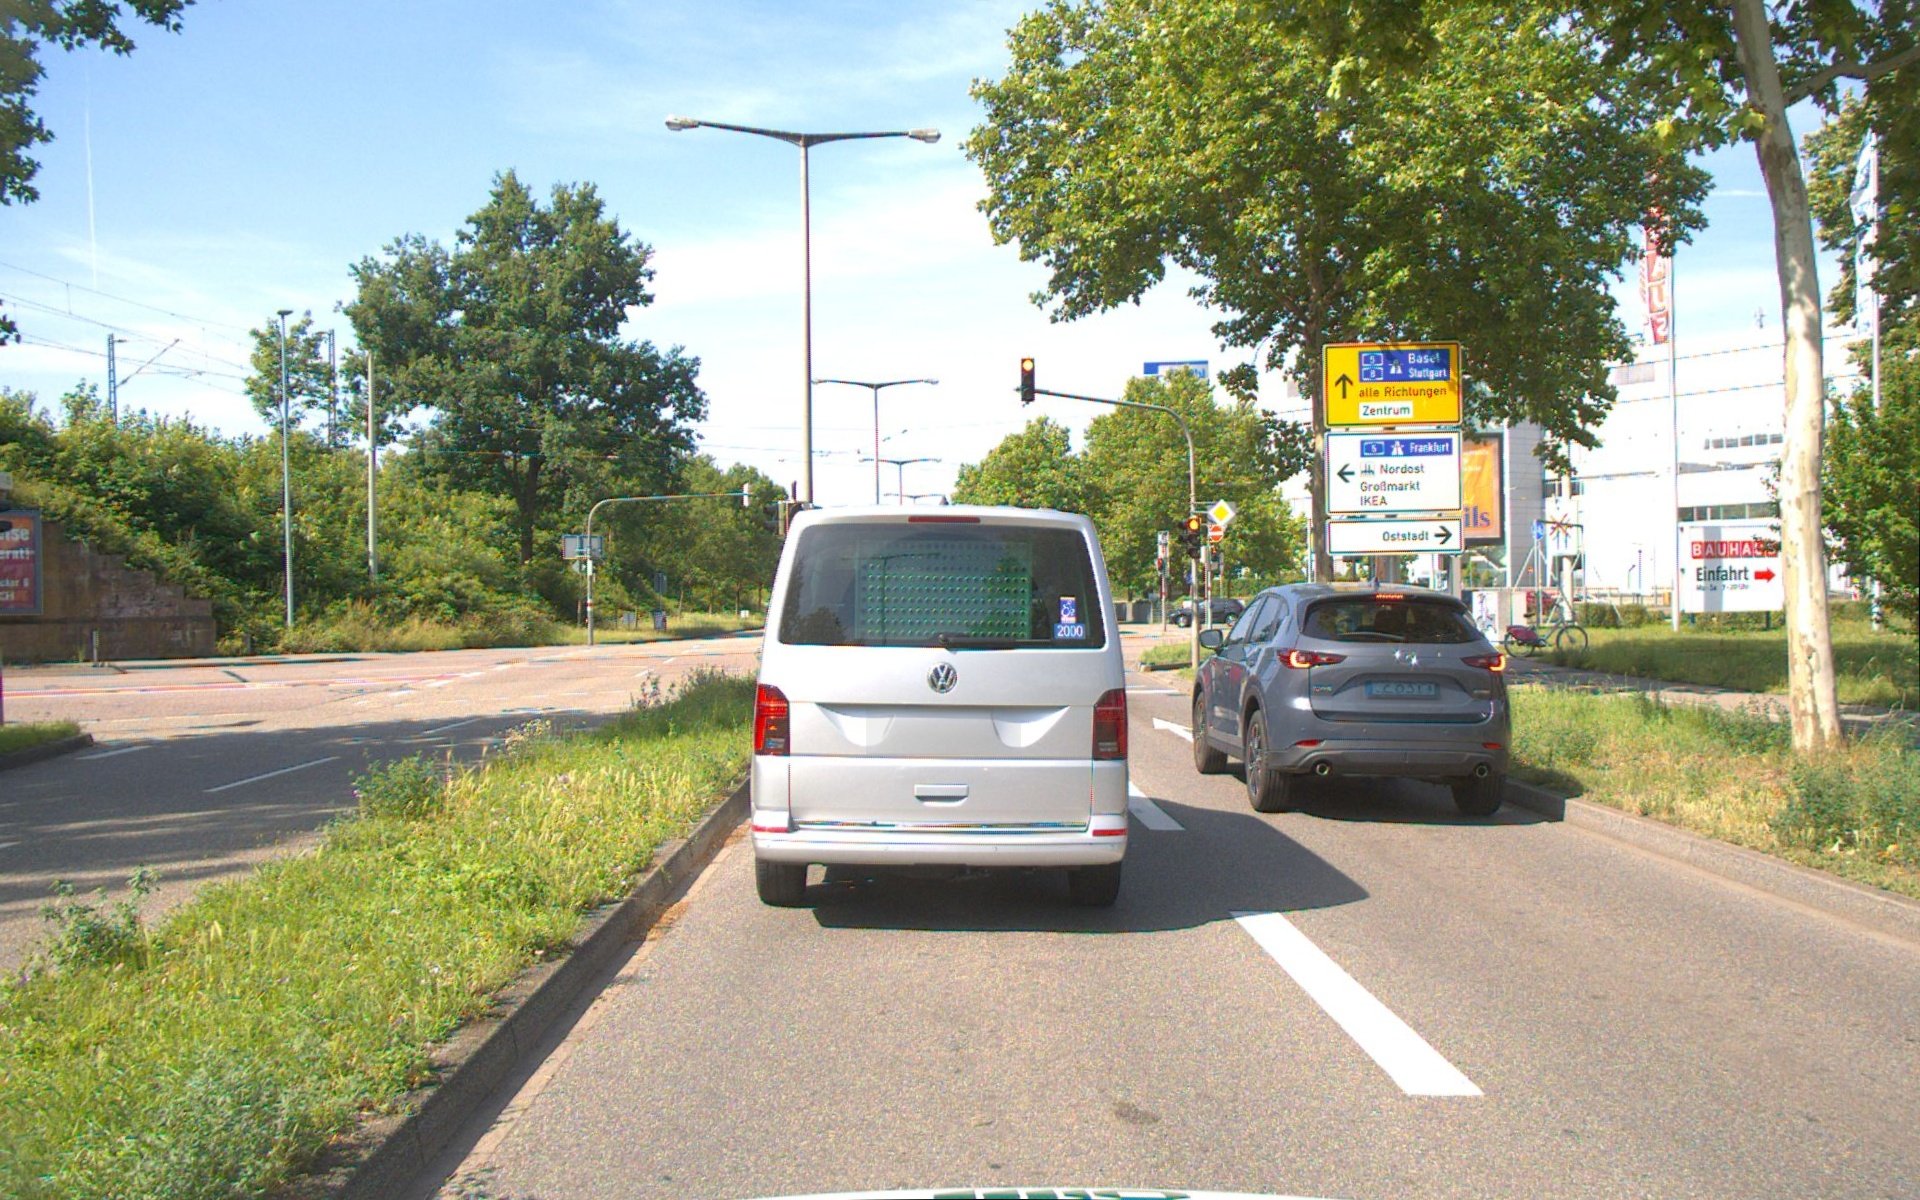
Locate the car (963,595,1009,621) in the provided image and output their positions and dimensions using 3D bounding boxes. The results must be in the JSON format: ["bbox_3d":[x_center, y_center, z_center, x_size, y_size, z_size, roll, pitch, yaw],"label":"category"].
[{"bbox_3d":[1.552,0.475,100.372,1.745,1.469,4.613,-1,0,-12],"label":"car"}]

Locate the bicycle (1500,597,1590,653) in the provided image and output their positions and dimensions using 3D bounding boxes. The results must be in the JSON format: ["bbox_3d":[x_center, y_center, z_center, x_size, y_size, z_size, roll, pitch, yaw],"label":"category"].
[{"bbox_3d":[12.501,0.542,35.378,1.748,1.127,0.504,-3,-1,18],"label":"bicycle"}]

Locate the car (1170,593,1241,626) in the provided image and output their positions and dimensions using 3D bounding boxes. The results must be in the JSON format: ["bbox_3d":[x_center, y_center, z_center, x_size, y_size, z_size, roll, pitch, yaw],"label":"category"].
[{"bbox_3d":[12.447,0.474,83.792,3.518,1.593,2.002,1,-1,10],"label":"car"}]

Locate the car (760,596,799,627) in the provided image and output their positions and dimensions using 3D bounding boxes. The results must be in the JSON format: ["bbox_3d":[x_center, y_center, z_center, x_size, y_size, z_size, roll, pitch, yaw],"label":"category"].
[{"bbox_3d":[-9.635,0.586,88.732,1.813,1.589,3.998,-1,0,-3],"label":"car"}]

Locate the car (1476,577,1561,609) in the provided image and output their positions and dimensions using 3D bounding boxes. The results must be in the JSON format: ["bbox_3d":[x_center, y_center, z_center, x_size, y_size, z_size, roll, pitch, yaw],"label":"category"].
[{"bbox_3d":[27.858,-0.354,82.392,4.578,1.469,1.758,-1,0,-38],"label":"car"}]

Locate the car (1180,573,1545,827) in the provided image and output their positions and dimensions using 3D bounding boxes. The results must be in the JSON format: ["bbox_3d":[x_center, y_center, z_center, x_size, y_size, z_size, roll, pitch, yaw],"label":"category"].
[{"bbox_3d":[3.011,0.675,13.364,1.730,1.688,4.494,1,0,-2],"label":"car"}]

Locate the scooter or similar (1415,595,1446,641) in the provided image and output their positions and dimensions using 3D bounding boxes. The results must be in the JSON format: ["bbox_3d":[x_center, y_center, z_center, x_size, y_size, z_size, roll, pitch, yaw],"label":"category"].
[{"bbox_3d":[12.090,0.460,42.503,0.416,1.146,1.123,-1,0,-2],"label":"scooter or similar"}]

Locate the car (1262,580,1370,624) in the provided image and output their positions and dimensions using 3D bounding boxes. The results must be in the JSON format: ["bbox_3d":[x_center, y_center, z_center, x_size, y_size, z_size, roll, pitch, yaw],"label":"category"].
[{"bbox_3d":[14.868,0.063,68.971,4.578,1.718,1.890,-1,0,-38],"label":"car"}]

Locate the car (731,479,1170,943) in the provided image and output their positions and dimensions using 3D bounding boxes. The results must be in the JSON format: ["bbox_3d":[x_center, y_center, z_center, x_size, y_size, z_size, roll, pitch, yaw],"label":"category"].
[{"bbox_3d":[-0.077,0.483,9.726,1.902,2.006,5.021,0,0,-1],"label":"car"}]
